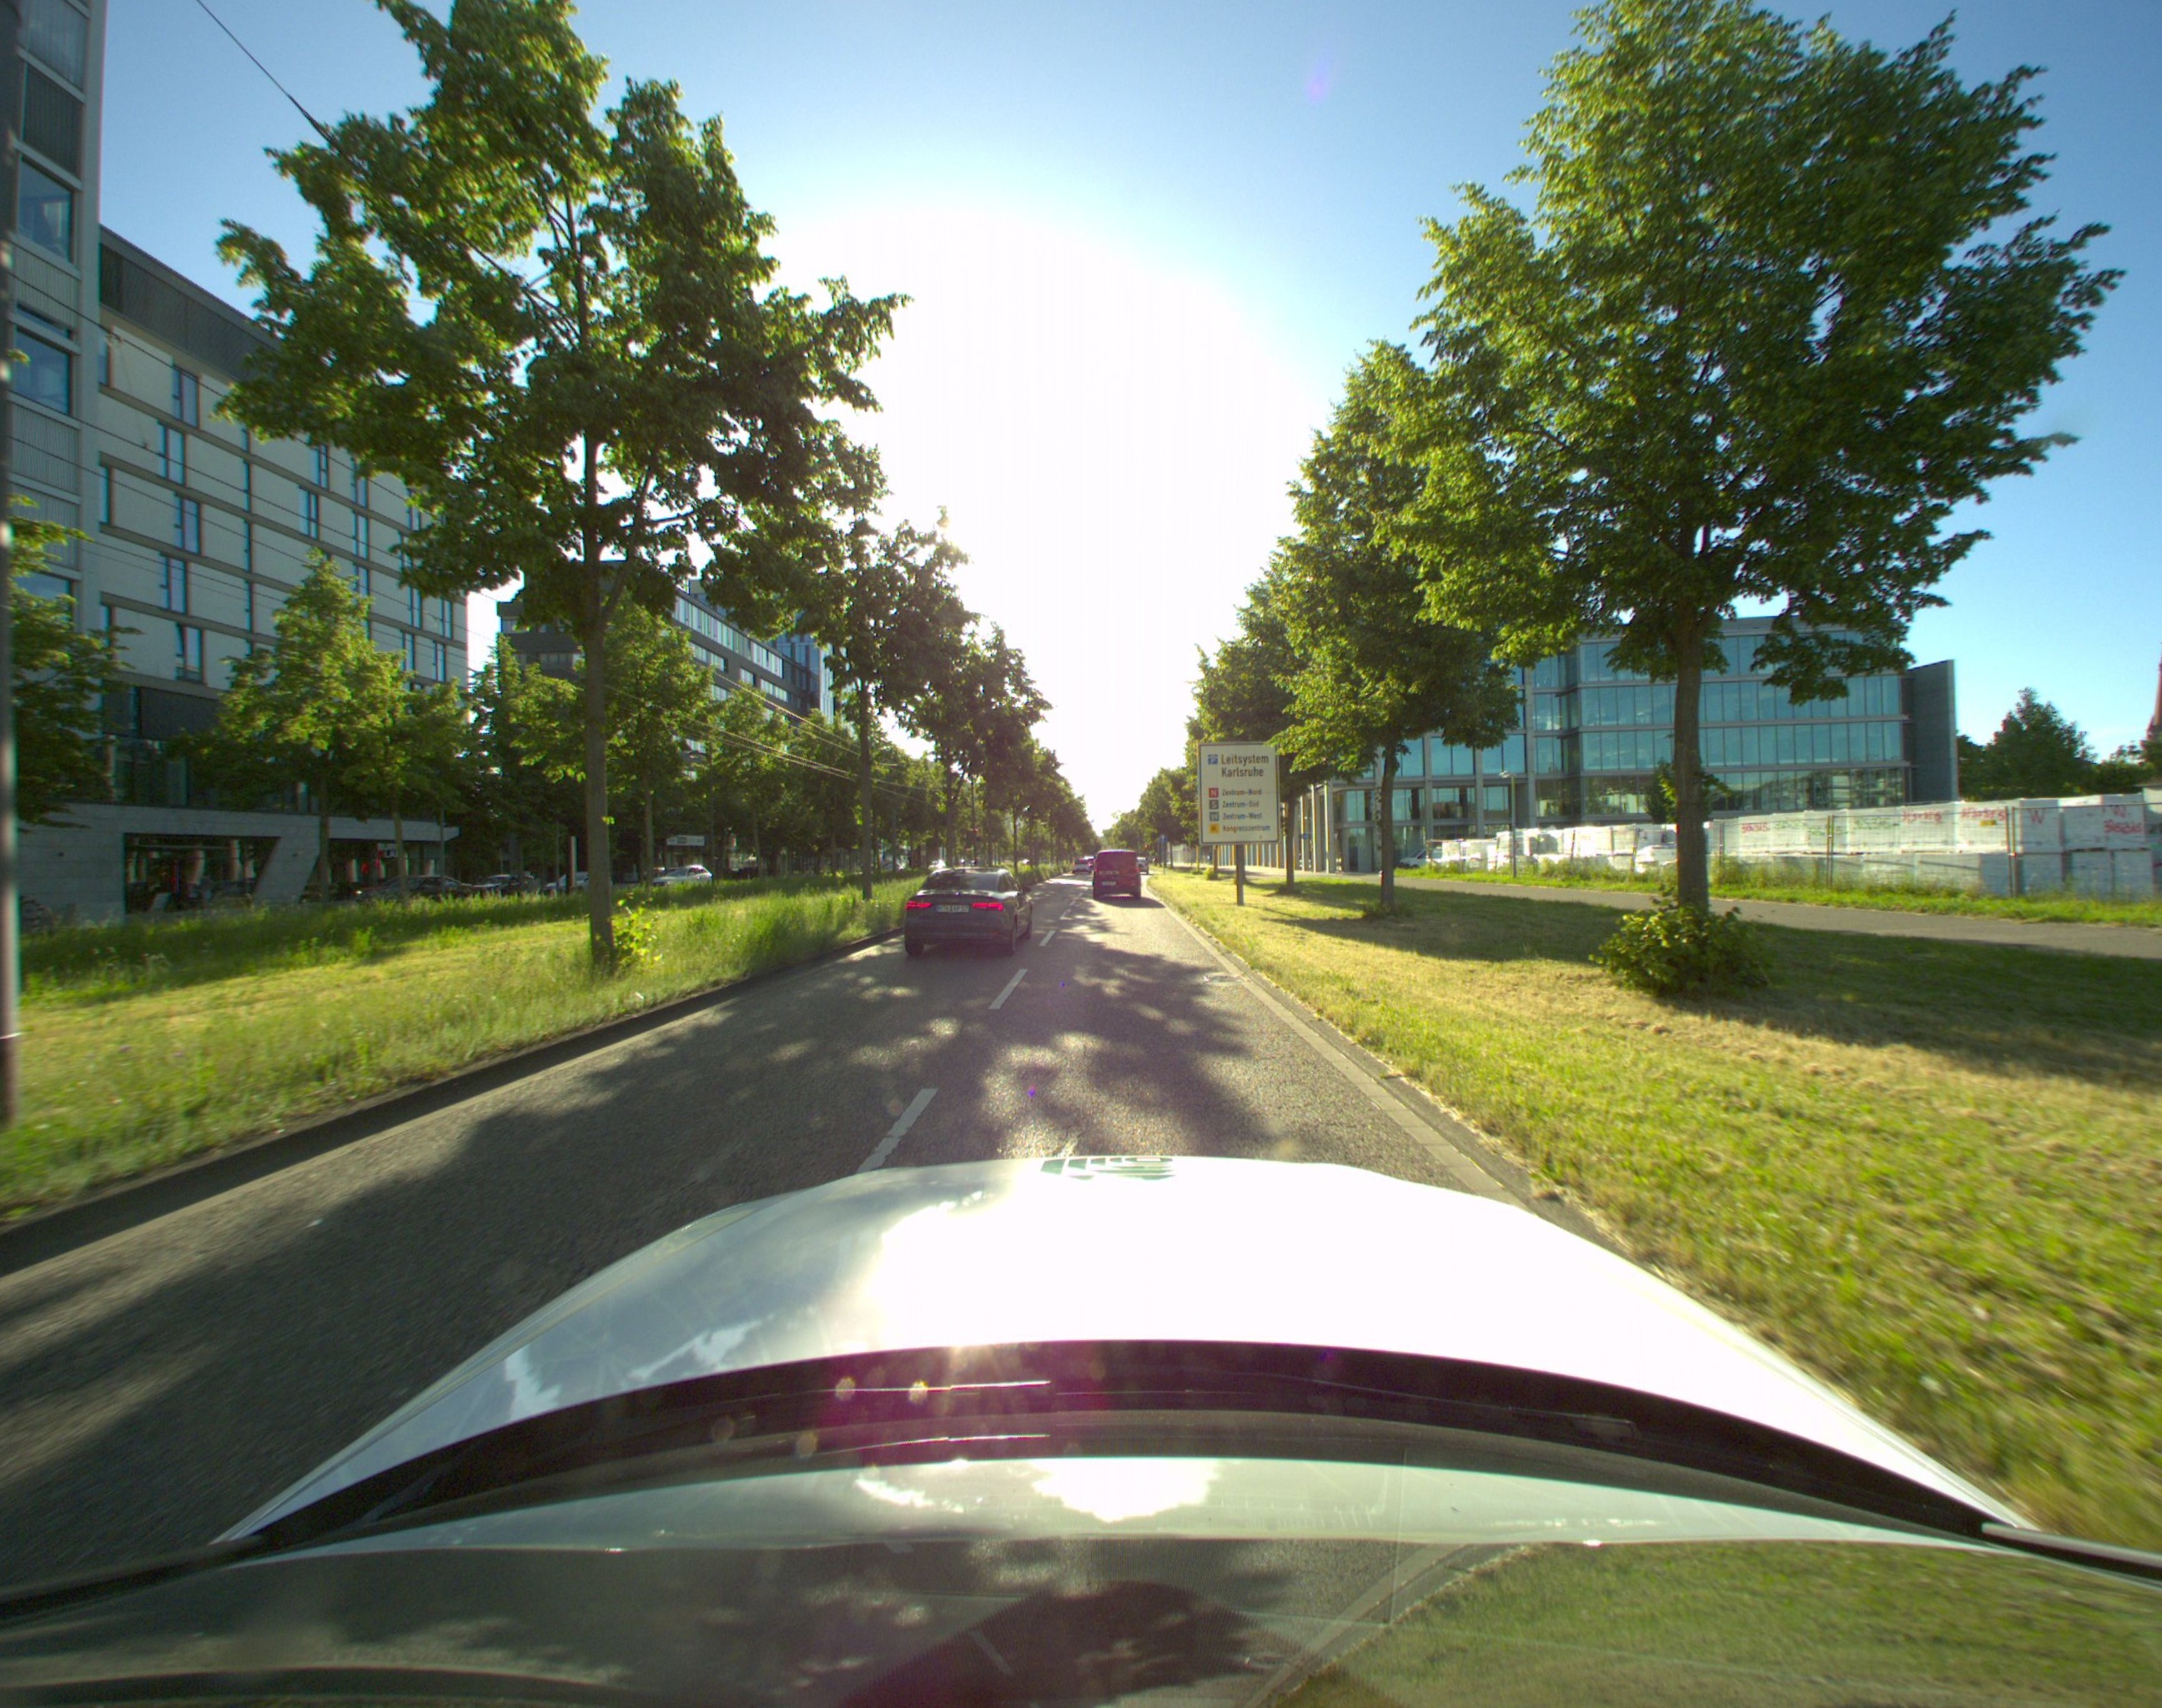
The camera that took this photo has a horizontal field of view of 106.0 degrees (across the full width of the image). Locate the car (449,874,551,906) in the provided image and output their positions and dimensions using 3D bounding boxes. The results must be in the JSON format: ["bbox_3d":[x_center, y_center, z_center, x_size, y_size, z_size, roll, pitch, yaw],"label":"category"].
[{"bbox_3d":[-29.547,1.774,41.622,1.708,1.420,4.549,-1,0,4],"label":"car"}]

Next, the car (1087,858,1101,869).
[{"bbox_3d":[1.854,1.297,115.197,1.835,1.534,3.943,-1,0,3],"label":"car"}]

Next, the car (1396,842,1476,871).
[{"bbox_3d":[26.254,0.176,60.358,5.041,1.982,1.941,-1,0,6],"label":"car"}]

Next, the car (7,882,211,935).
[{"bbox_3d":[-29.951,1.631,25.287,1.727,1.354,3.755,-1,0,2],"label":"car"}]

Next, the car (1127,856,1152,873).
[{"bbox_3d":[5.247,0.934,73.184,1.717,1.425,3.812,1,1,-3],"label":"car"}]

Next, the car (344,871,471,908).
[{"bbox_3d":[-29.784,1.548,36.240,1.708,1.420,4.547,-1,0,2],"label":"car"}]

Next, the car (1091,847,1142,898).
[{"bbox_3d":[1.299,0.666,30.606,1.791,1.777,4.001,0,0,1],"label":"car"}]

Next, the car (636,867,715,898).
[{"bbox_3d":[-21.108,1.451,42.595,1.791,1.292,4.312,-2,1,1],"label":"car"}]

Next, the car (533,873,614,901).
[{"bbox_3d":[-29.297,1.896,47.210,1.708,1.420,4.547,-1,0,2],"label":"car"}]

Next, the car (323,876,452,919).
[{"bbox_3d":[-33.852,2.059,39.977,1.791,1.777,5.131,0,0,2],"label":"car"}]

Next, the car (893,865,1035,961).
[{"bbox_3d":[-1.856,0.904,14.175,1.714,1.366,4.148,1,0,2],"label":"car"}]

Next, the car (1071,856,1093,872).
[{"bbox_3d":[0.079,0.934,76.473,1.936,1.441,3.999,-1,0,0],"label":"car"}]

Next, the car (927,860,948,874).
[{"bbox_3d":[-18.711,1.655,106.479,1.791,1.689,4.322,0,0,2],"label":"car"}]
